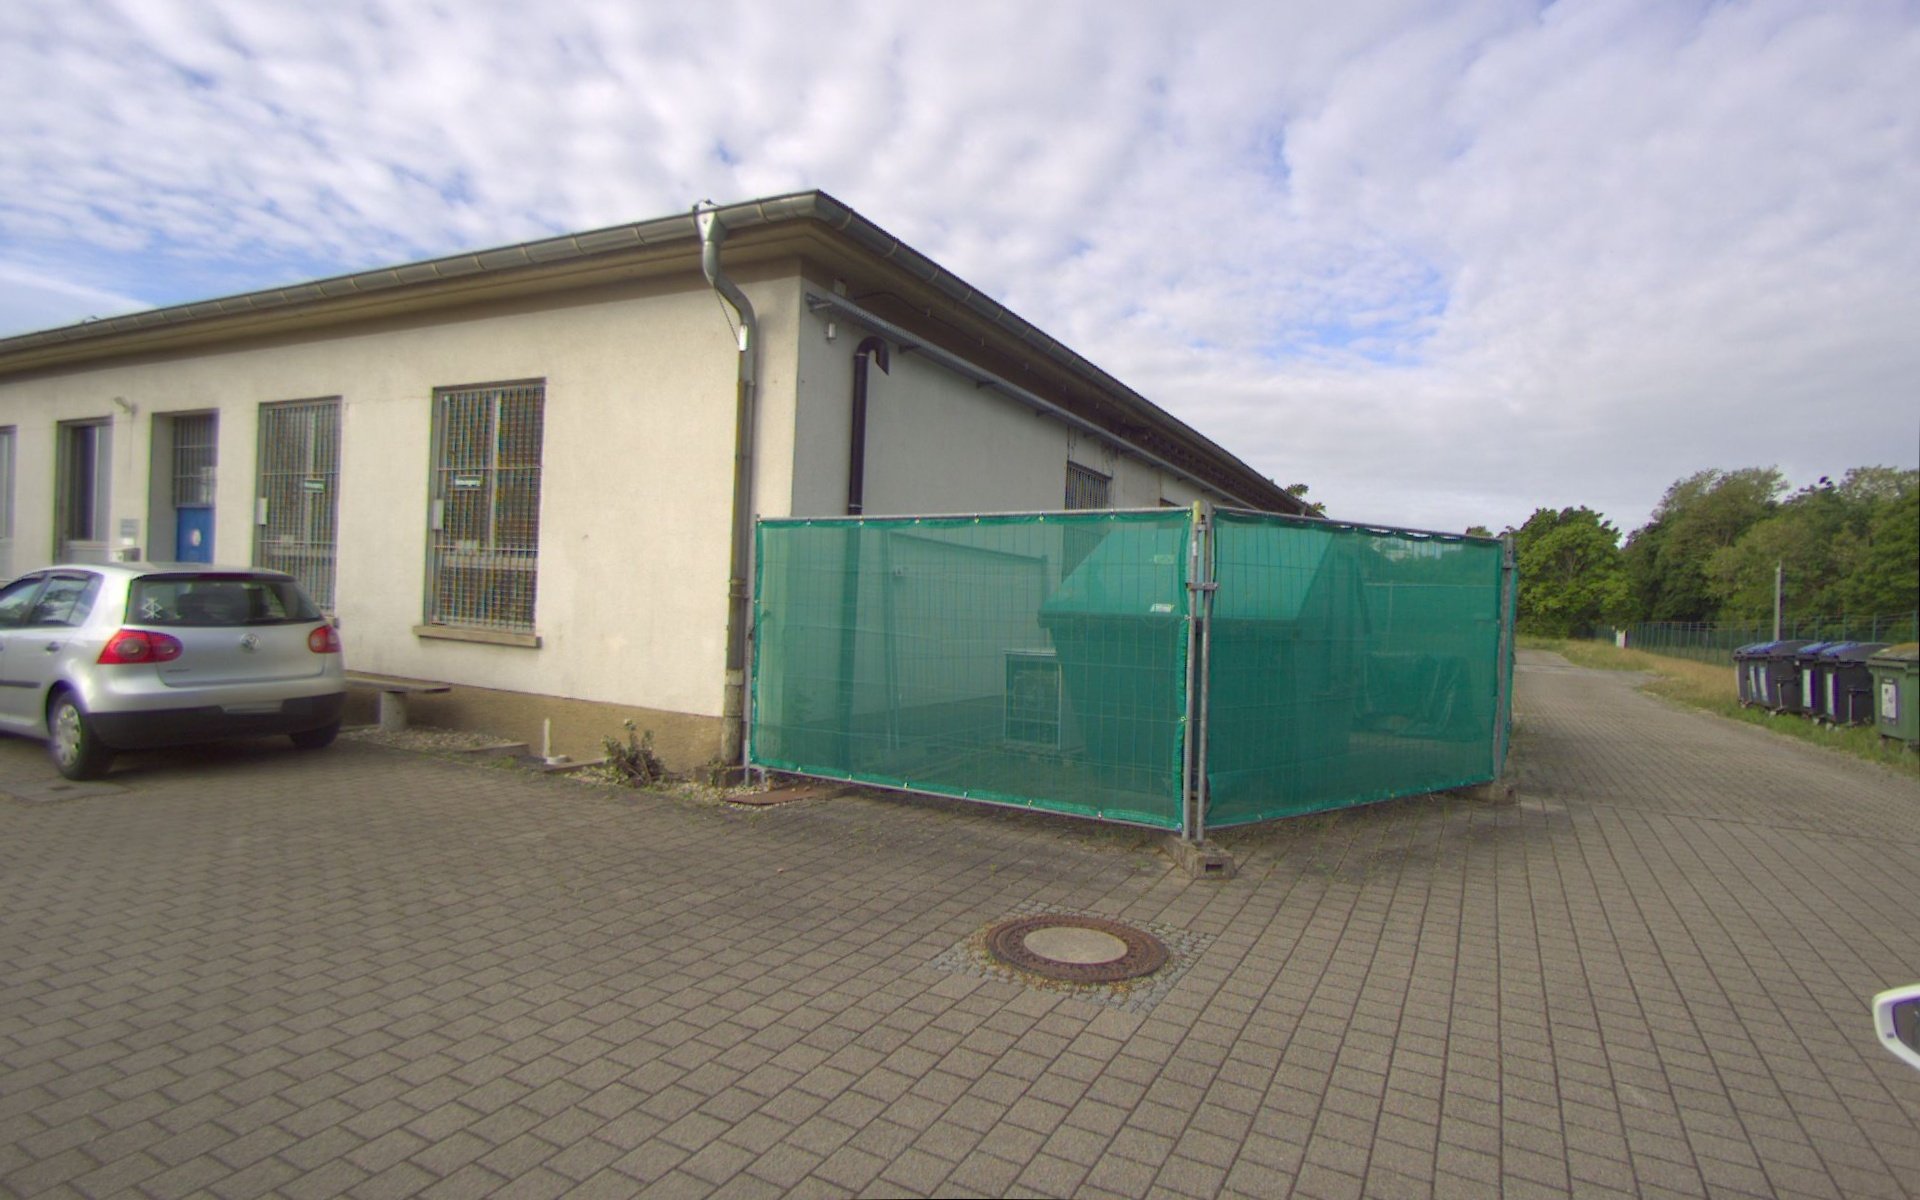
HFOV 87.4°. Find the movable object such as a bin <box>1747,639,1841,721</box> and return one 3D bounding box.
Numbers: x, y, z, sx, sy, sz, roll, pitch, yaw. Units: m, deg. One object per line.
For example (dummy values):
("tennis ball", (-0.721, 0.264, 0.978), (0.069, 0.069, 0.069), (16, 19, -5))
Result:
("movable object such as a bin", (14.817, 1.391, 17.895), (1.107, 1.339, 1.321), (2, 0, 34))

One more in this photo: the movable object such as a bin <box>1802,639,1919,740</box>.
("movable object such as a bin", (13.533, 1.312, 15.084), (1.138, 1.342, 1.489), (3, -1, 34))

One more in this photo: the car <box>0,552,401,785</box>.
("car", (-6.866, 0.392, 8.305), (4.289, 1.458, 1.928), (3, 0, 29))

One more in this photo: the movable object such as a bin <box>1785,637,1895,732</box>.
("movable object such as a bin", (14.346, 1.356, 16.438), (1.107, 1.392, 1.489), (3, -1, 34))

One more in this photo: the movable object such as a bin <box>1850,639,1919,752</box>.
("movable object such as a bin", (11.905, 1.181, 12.330), (1.106, 1.313, 1.378), (3, -1, 28))

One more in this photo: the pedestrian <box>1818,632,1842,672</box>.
("pedestrian", (45.498, 2.716, 52.521), (0.748, 2.040, 0.663), (2, 0, 28))

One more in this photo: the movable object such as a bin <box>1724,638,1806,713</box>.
("movable object such as a bin", (16.181, 1.494, 20.246), (1.107, 1.368, 1.422), (3, -1, 34))

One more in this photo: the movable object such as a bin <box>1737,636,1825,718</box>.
("movable object such as a bin", (15.500, 1.428, 19.001), (1.107, 1.397, 1.321), (3, -1, 34))

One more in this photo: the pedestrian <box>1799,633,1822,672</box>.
("pedestrian", (44.805, 2.755, 52.926), (0.748, 2.040, 0.663), (2, 0, 28))
